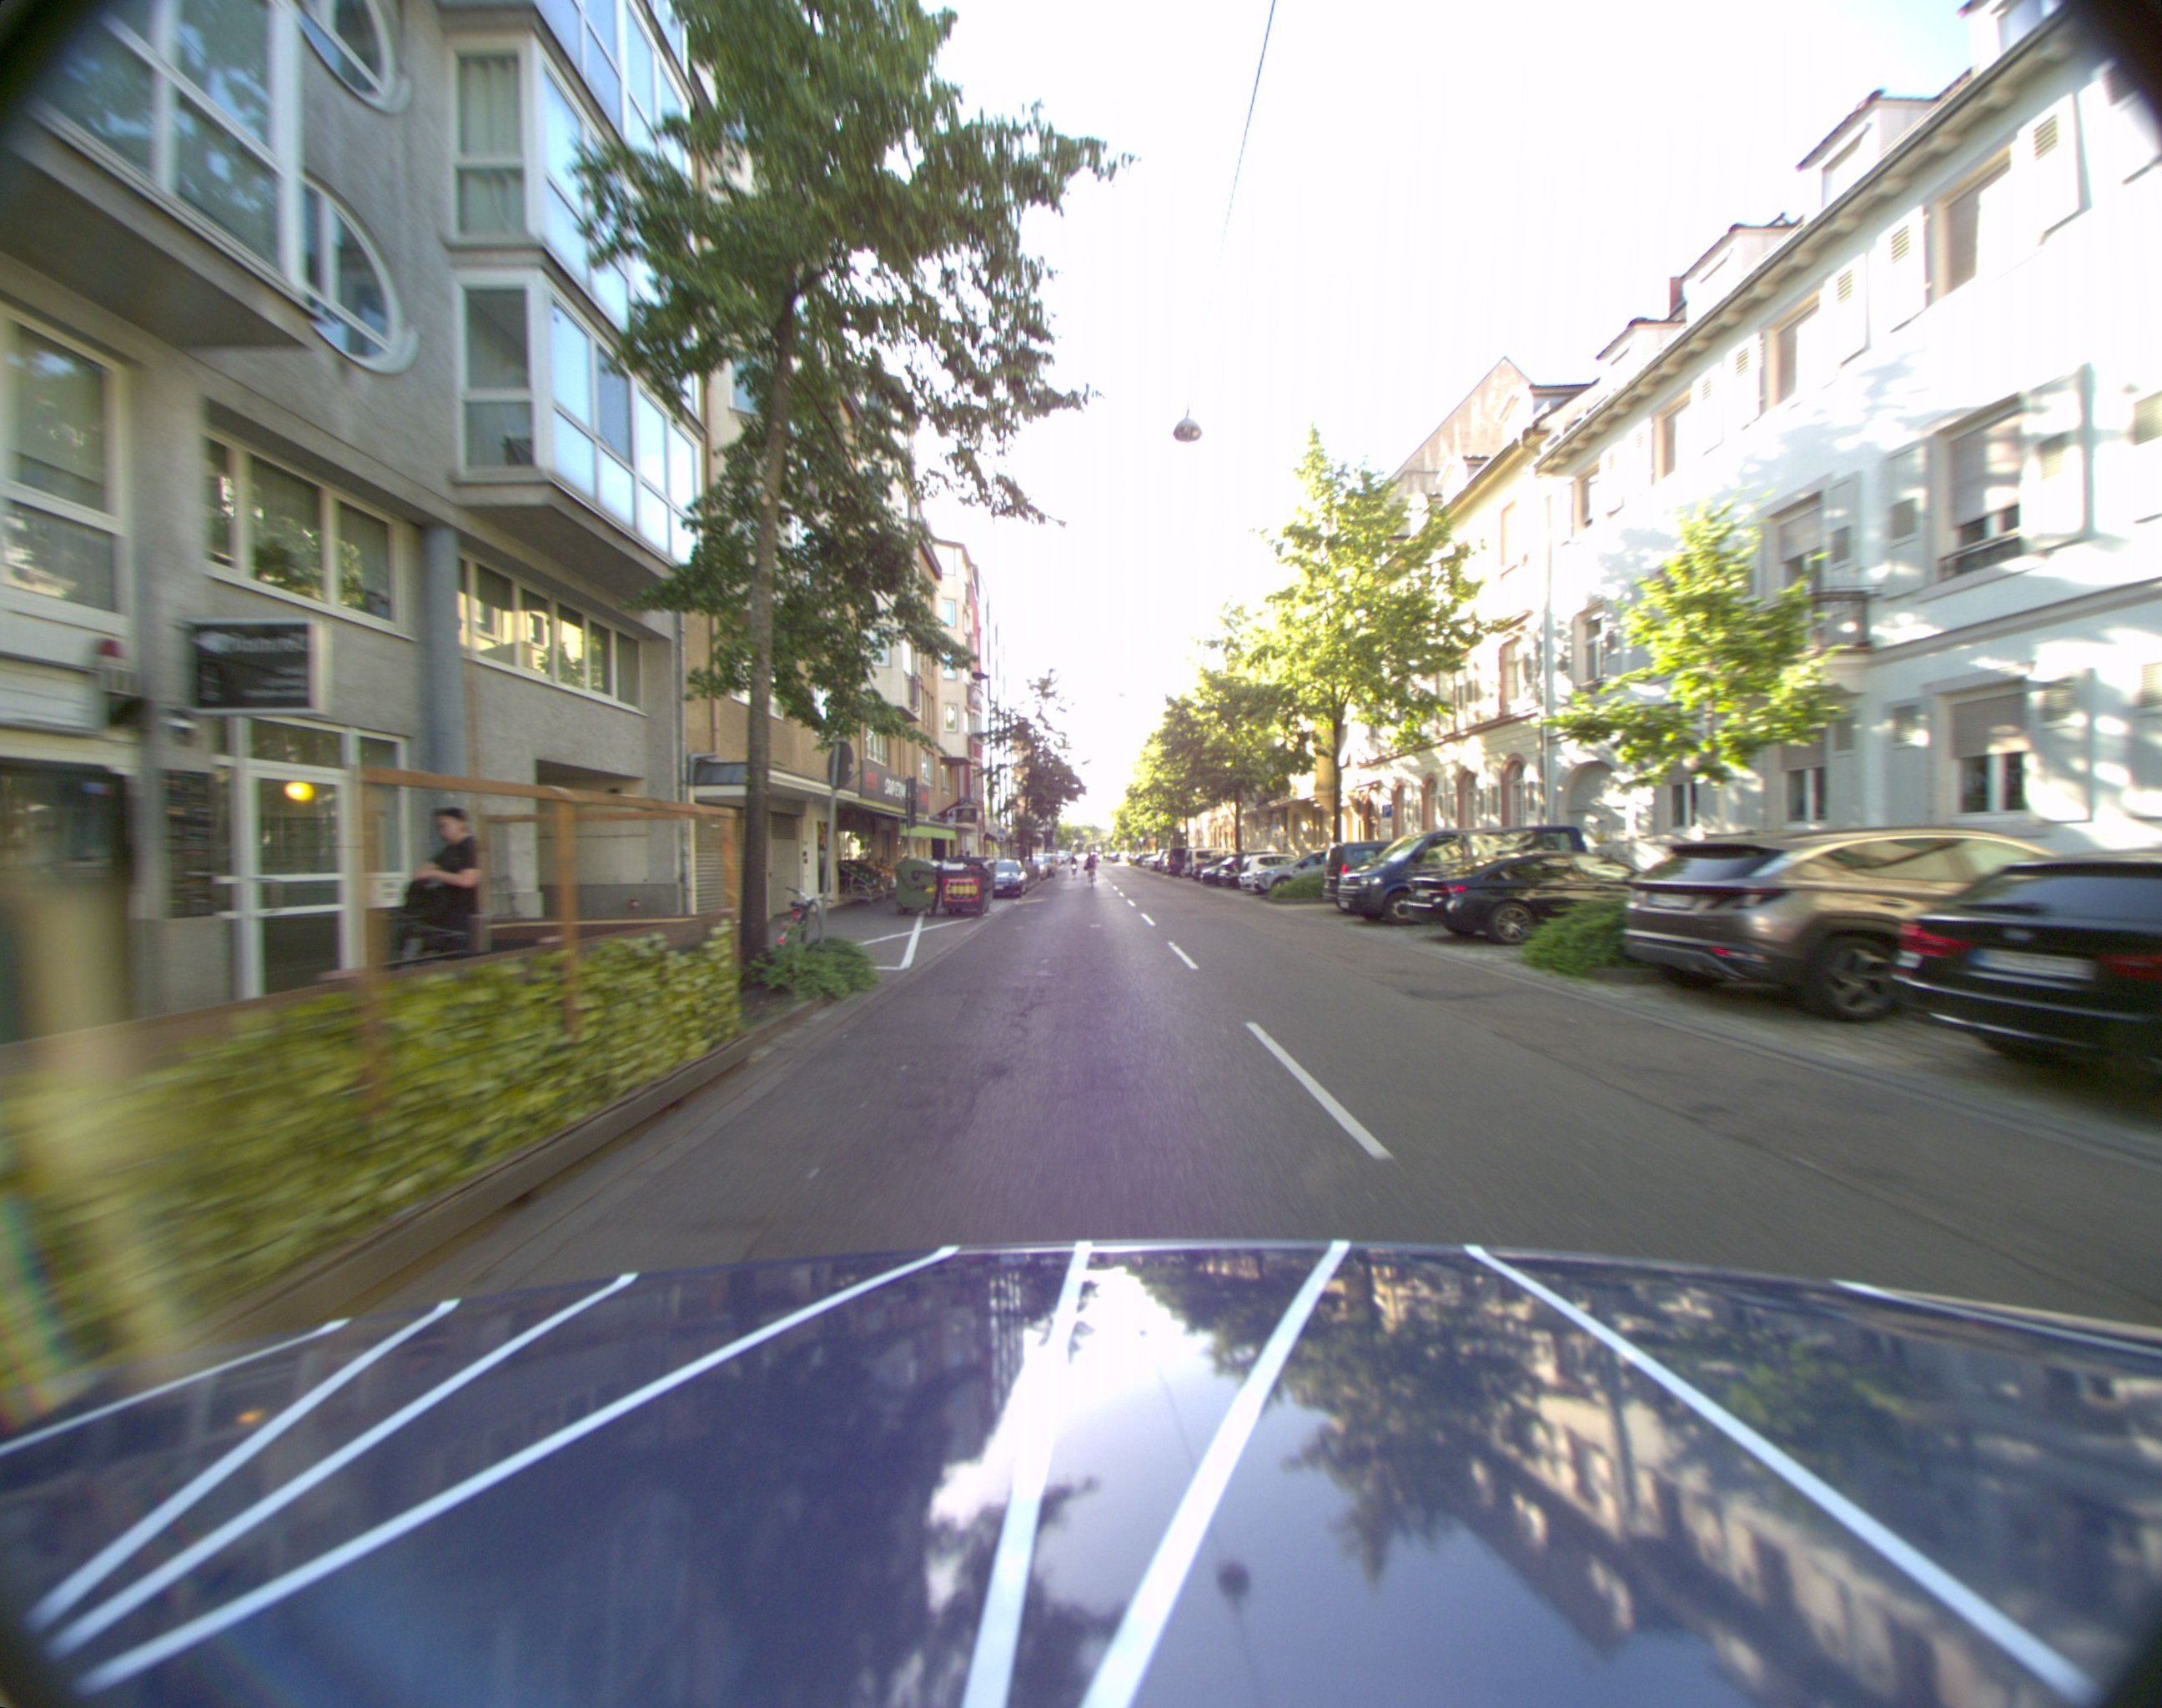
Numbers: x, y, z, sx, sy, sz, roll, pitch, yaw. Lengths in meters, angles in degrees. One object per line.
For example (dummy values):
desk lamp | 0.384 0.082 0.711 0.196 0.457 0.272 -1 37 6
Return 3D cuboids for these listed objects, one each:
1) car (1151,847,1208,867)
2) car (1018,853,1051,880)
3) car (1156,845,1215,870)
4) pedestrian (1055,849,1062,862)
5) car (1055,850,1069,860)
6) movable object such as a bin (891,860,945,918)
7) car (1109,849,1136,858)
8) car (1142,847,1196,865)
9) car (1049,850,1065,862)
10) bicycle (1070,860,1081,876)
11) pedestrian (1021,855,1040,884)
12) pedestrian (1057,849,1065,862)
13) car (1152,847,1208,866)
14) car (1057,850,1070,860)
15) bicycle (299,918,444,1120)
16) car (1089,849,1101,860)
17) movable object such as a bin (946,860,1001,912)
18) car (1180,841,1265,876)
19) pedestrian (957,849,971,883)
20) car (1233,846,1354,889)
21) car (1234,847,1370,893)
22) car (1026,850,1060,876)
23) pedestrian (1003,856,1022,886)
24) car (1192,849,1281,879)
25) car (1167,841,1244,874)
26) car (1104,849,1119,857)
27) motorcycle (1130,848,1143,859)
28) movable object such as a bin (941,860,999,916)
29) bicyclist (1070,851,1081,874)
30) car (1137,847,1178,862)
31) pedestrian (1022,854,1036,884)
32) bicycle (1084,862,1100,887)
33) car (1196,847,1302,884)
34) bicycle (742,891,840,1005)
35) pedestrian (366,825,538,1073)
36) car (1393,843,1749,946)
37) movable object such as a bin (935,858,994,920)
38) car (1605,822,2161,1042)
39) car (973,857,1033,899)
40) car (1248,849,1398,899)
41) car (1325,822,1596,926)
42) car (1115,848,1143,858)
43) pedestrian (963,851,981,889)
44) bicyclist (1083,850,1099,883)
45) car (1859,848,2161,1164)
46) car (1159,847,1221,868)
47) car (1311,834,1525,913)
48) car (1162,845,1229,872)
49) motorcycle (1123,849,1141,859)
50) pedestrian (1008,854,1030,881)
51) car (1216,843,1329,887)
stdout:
car | 8.287 0.202 63.834 4.354 1.535 1.962 -2 1 -9
car | -3.008 0.779 49.970 1.826 1.587 4.841 2 0 0
car | 8.436 0.266 61.311 4.352 1.814 1.929 -2 1 -6
pedestrian | -3.042 0.176 101.218 0.699 1.709 0.693 1 1 -23
car | -3.032 0.156 121.827 1.998 1.565 4.000 1 1 1
movable object such as a bin | -4.169 0.877 19.576 1.080 1.423 1.295 -1 1 1
car | 6.812 -0.083 124.520 4.006 1.433 1.995 -2 1 -31
car | 8.142 0.166 70.718 4.713 1.484 1.999 -2 2 -4
car | -3.320 0.230 104.817 1.978 1.565 4.126 1 1 1
bicycle | -0.380 0.973 52.627 0.666 1.061 1.836 -1 1 1
pedestrian | -2.684 0.804 40.592 0.750 1.527 0.808 0 1 15
pedestrian | -2.603 0.193 100.627 0.693 1.709 0.896 2 1 25
car | 8.838 0.188 68.387 4.712 1.483 2.000 -2 0 -1
car | -2.911 0.140 125.962 1.998 1.483 4.000 1 1 1
bicycle | -5.248 1.121 5.681 0.683 1.142 1.680 -1 1 -41
car | 2.481 0.044 130.429 1.915 1.536 4.353 -4 2 2
movable object such as a bin | -3.088 0.897 21.986 1.402 1.445 1.146 -1 1 0
car | 8.059 0.261 43.457 4.354 1.823 1.915 -2 1 -9
pedestrian | -5.830 0.610 37.964 0.631 1.686 0.503 -1 1 -14
car | 8.501 0.508 30.675 4.350 1.573 1.809 -1 1 0
car | 8.126 0.555 28.276 4.477 1.532 1.916 -2 1 0
car | -2.769 0.634 56.330 1.826 1.767 4.931 2 0 4
pedestrian | -3.547 0.848 39.329 0.712 1.527 0.770 0 1 15
car | 8.262 0.513 40.648 4.351 1.430 1.916 -2 1 -1
car | 7.885 0.201 48.345 4.584 1.915 1.930 -1 1 3
car | 5.840 -0.269 145.572 1.771 1.421 4.005 -1 1 20
motorcycle | 7.866 -0.053 107.657 1.750 1.415 0.831 -1 1 27
movable object such as a bin | -3.027 0.913 20.823 1.402 1.445 1.146 -1 1 0
bicyclist | -0.385 0.581 52.840 0.658 1.562 0.909 -1 1 1
car | 8.405 0.031 83.491 4.349 1.535 1.944 -1 1 2
pedestrian | -2.698 0.783 39.293 0.652 1.527 0.980 -1 1 -1
bicycle | 0.516 0.946 36.561 0.718 1.105 2.269 -1 1 1
car | 7.712 0.513 35.226 4.476 1.532 1.917 -1 1 2
bicycle | -3.542 1.099 9.458 0.609 1.114 2.054 6 -1 -9
pedestrian | -5.302 0.741 6.429 0.925 1.924 0.762 0 1 25
car | 7.753 0.611 12.343 4.657 1.451 1.683 -1 1 2
movable object such as a bin | -2.988 0.885 19.658 1.334 1.533 1.146 -1 1 0
car | 7.830 0.617 7.014 4.691 1.702 1.808 -1 1 2
car | -3.035 0.890 30.546 1.826 1.463 4.911 2 0 0
car | 8.034 0.646 25.593 4.476 1.532 1.917 -1 1 4
car | 7.749 0.391 15.878 4.691 1.939 1.916 -1 1 2
car | 7.707 -0.140 122.299 4.006 1.553 1.995 -2 1 -31
pedestrian | -4.937 0.700 34.352 0.618 1.686 0.762 0 1 5
bicyclist | 0.490 0.587 36.258 0.718 1.553 0.864 -1 1 1
car | 7.693 0.711 4.273 4.691 1.510 1.808 -1 1 2
car | 8.393 0.267 58.751 4.352 1.535 1.915 -2 1 -4
car | 8.302 0.462 19.042 4.477 1.762 1.916 -1 1 2
car | 8.046 0.289 53.733 4.351 1.723 1.916 -2 1 -2
motorcycle | 7.201 0.010 106.849 2.316 1.415 1.002 -1 1 27
pedestrian | -3.550 0.776 43.560 1.058 1.527 0.892 0 1 4
car | 8.167 0.448 32.733 4.350 1.699 1.916 -1 1 0
